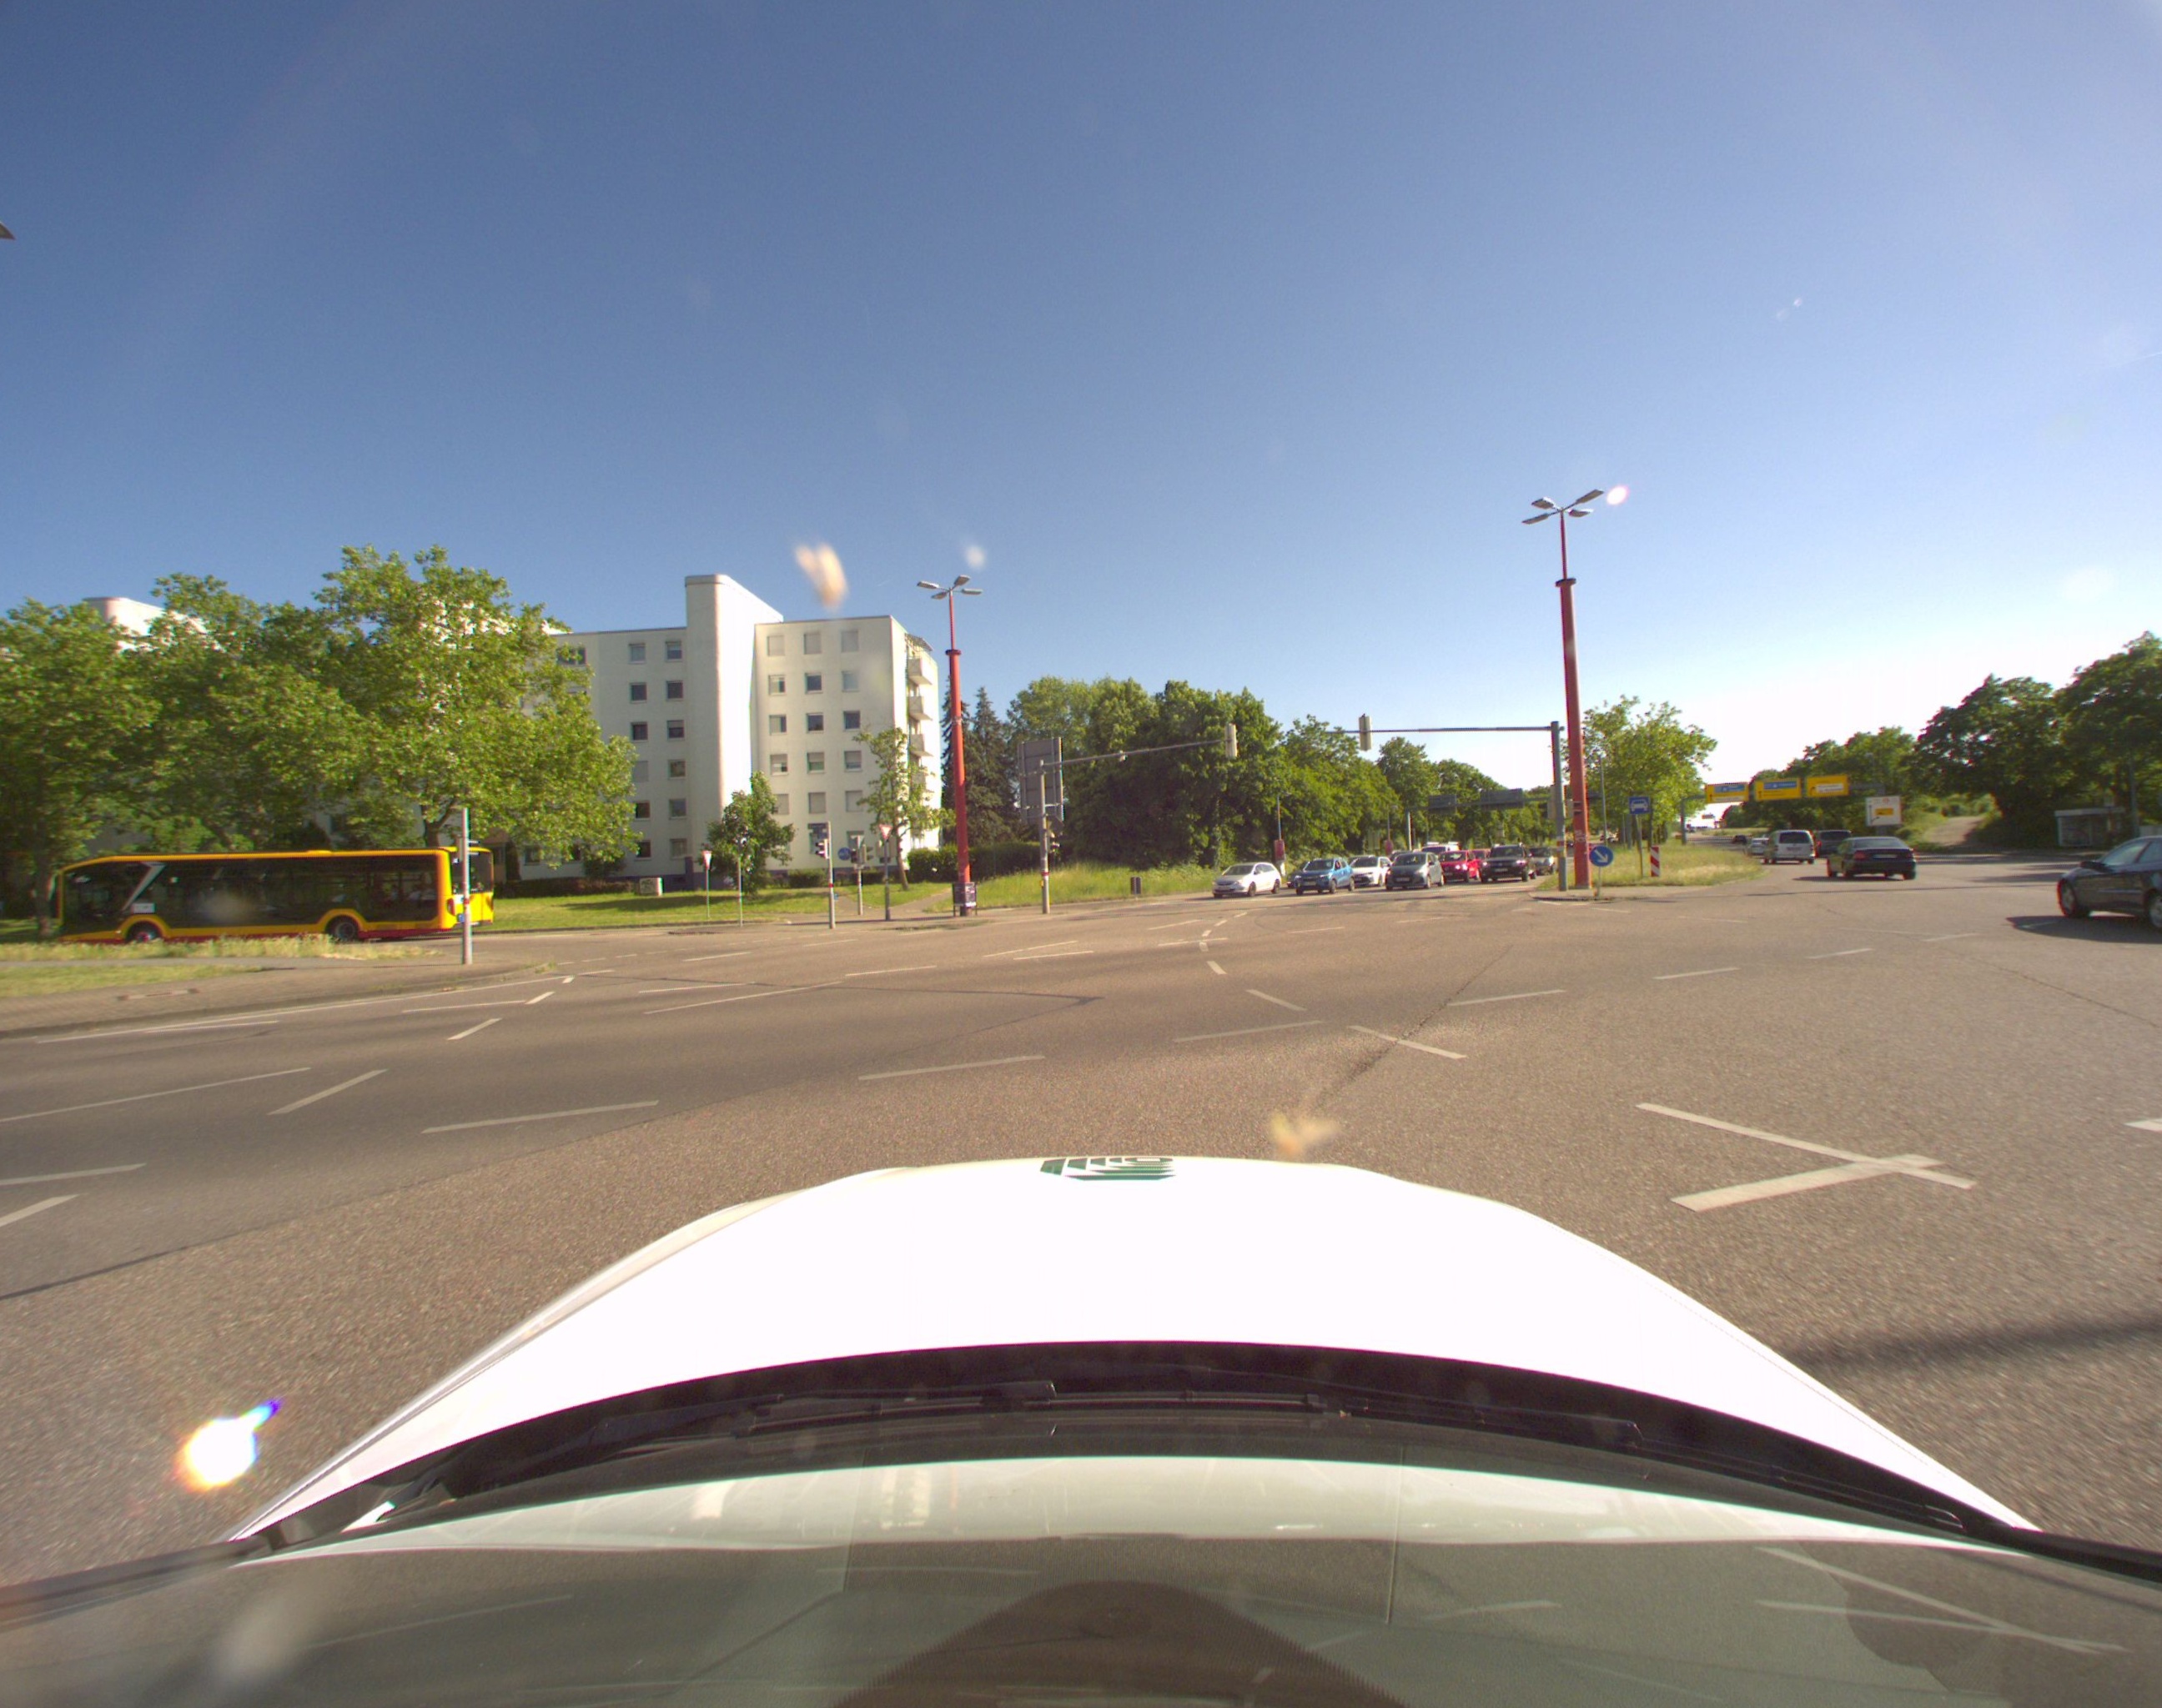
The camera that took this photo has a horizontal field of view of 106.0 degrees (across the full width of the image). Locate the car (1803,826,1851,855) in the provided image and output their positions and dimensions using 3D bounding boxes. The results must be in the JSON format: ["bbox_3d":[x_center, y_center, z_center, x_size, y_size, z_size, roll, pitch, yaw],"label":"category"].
[{"bbox_3d":[52.257,-0.934,57.125,1.787,1.852,5.136,-3,-1,35],"label":"car"}]

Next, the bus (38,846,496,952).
[{"bbox_3d":[-27.952,1.474,28.496,12.474,3.261,2.650,-1,0,-5],"label":"bus"}]

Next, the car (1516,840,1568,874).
[{"bbox_3d":[23.285,0.139,41.047,1.867,1.543,4.026,-4,-2,34],"label":"car"}]

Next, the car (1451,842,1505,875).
[{"bbox_3d":[21.210,0.230,43.458,1.882,1.630,4.026,-3,-1,36],"label":"car"}]

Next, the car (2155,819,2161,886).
[{"bbox_3d":[24.086,-0.040,16.403,1.750,1.508,4.253,-1,0,35],"label":"car"}]

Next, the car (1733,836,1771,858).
[{"bbox_3d":[48.245,-0.521,58.639,1.787,1.493,4.712,-1,0,36],"label":"car"}]

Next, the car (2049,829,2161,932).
[{"bbox_3d":[16.637,0.325,12.184,1.702,1.420,4.076,-2,-1,35],"label":"car"}]

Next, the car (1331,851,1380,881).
[{"bbox_3d":[16.652,0.721,49.325,1.761,1.652,3.999,-6,-4,33],"label":"car"}]

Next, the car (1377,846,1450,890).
[{"bbox_3d":[13.741,0.562,33.532,1.856,1.550,4.053,-5,-2,34],"label":"car"}]

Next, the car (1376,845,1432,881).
[{"bbox_3d":[17.806,0.489,44.792,1.856,1.784,4.026,-4,-1,36],"label":"car"}]

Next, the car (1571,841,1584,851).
[{"bbox_3d":[98.286,-1.615,161.160,1.896,1.846,3.986,-3,-1,35],"label":"car"}]

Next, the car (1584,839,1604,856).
[{"bbox_3d":[61.670,-0.776,97.942,1.897,1.846,3.986,-3,-1,31],"label":"car"}]

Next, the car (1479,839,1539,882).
[{"bbox_3d":[18.532,0.250,35.186,1.776,1.626,4.170,-5,-2,34],"label":"car"}]

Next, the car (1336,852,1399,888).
[{"bbox_3d":[13.946,0.731,39.520,1.882,1.555,4.026,-4,-2,33],"label":"car"}]

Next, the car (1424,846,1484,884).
[{"bbox_3d":[17.695,0.511,38.551,1.857,1.552,4.026,-6,-3,33],"label":"car"}]

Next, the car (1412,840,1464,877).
[{"bbox_3d":[22.155,0.238,50.419,1.942,2.155,5.114,-3,-1,34],"label":"car"}]

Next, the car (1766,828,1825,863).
[{"bbox_3d":[39.369,-0.449,44.971,1.787,1.821,4.616,-2,-1,34],"label":"car"}]

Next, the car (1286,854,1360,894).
[{"bbox_3d":[10.311,0.821,34.509,1.783,1.516,3.883,-5,-2,35],"label":"car"}]

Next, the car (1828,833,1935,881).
[{"bbox_3d":[27.093,0.060,27.708,1.696,1.454,4.225,-3,-1,33],"label":"car"}]

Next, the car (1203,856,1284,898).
[{"bbox_3d":[7.303,0.998,36.269,1.858,1.652,4.246,-4,-2,36],"label":"car"}]

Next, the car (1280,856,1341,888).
[{"bbox_3d":[12.494,0.942,44.204,1.866,1.513,4.026,-4,-2,35],"label":"car"}]
